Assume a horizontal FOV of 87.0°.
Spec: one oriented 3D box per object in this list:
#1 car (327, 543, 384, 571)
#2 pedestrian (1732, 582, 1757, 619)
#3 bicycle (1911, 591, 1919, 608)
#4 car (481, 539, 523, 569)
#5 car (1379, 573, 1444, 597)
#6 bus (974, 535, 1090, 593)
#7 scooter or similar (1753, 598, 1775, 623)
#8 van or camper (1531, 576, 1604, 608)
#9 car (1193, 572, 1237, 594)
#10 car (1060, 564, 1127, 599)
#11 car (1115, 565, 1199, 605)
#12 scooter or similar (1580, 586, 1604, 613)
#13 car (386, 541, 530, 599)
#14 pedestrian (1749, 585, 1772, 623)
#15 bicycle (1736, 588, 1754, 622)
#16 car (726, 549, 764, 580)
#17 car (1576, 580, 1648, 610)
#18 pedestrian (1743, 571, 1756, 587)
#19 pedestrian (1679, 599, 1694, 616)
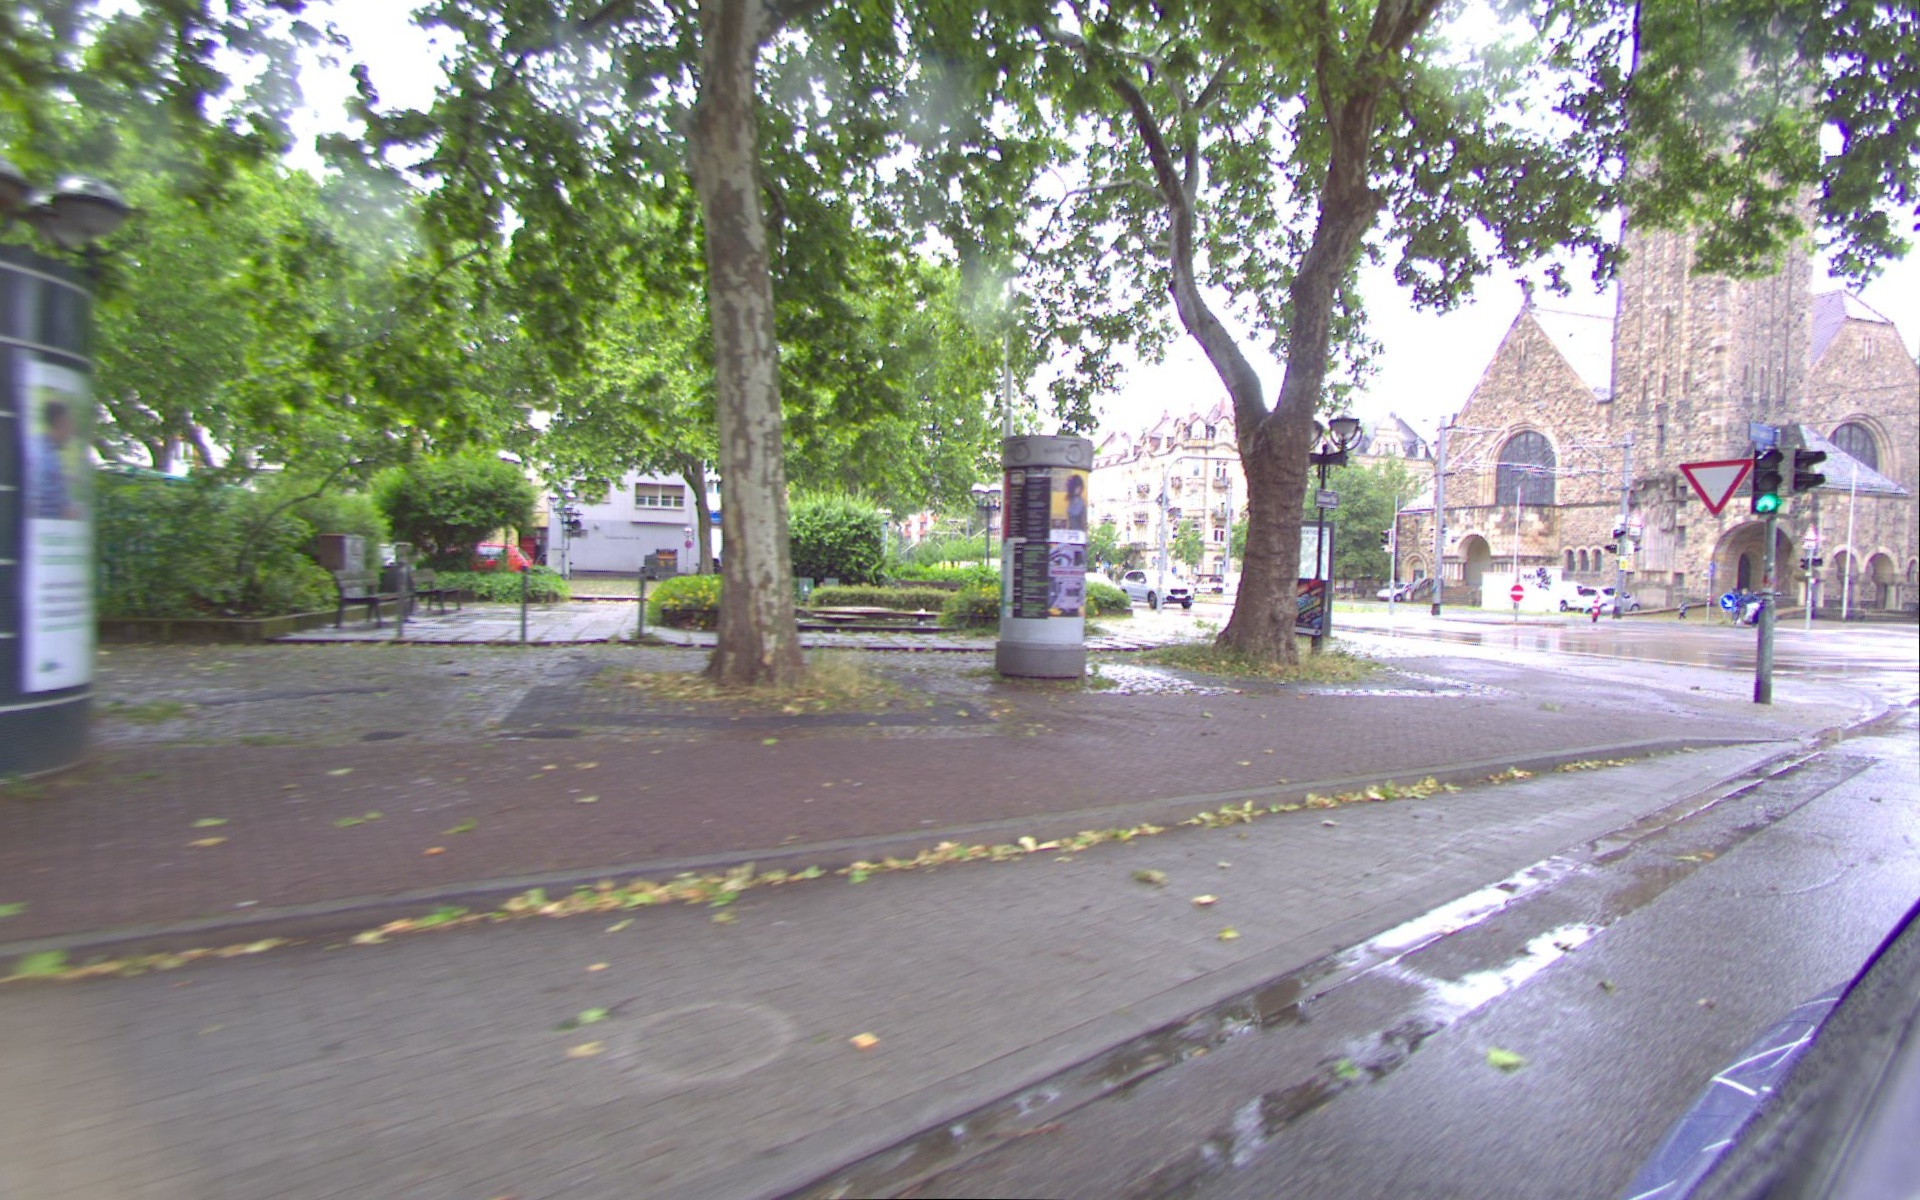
[{"bbox_3d":[-33.368,-2.370,55.944,1.642,1.470,4.010,1,2,-14],"label":"car"},{"bbox_3d":[38.028,0.017,49.055,0.664,1.724,0.635,1,1,-20],"label":"pedestrian"},{"bbox_3d":[59.954,0.012,62.309,0.569,1.073,1.933,1,2,-21],"label":"bicycle"},{"bbox_3d":[-26.282,-2.649,58.151,1.790,1.571,3.905,1,2,-18],"label":"car"},{"bbox_3d":[33.406,-1.081,74.895,3.915,1.638,2.005,1,2,-16],"label":"car"},{"bbox_3d":[4.113,-2.229,62.451,2.832,3.152,12.132,2,2,-17],"label":"bus"},{"bbox_3d":[35.895,0.462,45.178,0.907,1.061,0.515,1,2,-38],"label":"scooter or similar"},{"bbox_3d":[37.342,-0.522,62.235,3.848,1.748,1.653,-2,3,-16],"label":"van or camper"},{"bbox_3d":[22.952,-1.512,91.150,1.938,1.816,4.010,1,2,-19],"label":"car"},{"bbox_3d":[6.779,-0.964,51.760,1.741,1.619,4.189,2,2,-17],"label":"car"},{"bbox_3d":[8.789,-0.717,45.597,1.754,1.619,4.566,2,2,-17],"label":"car"},{"bbox_3d":[33.892,-0.027,54.299,0.280,1.404,1.106,2,1,-17],"label":"scooter or similar"},{"bbox_3d":[-14.331,-0.866,29.048,3.602,1.540,1.672,1,2,-25],"label":"car"},{"bbox_3d":[36.228,0.173,45.779,0.676,1.684,0.605,1,1,-37],"label":"pedestrian"},{"bbox_3d":[35.920,0.220,46.302,0.531,1.484,1.912,3,2,40],"label":"bicycle"},{"bbox_3d":[-13.360,-2.232,62.792,1.702,1.800,4.272,1,2,-20],"label":"car"},{"bbox_3d":[38.026,-0.303,59.030,3.288,1.593,1.740,-2,2,-13],"label":"car"},{"bbox_3d":[45.382,-1.227,58.186,0.447,0.895,0.397,1,1,-17],"label":"pedestrian"},{"bbox_3d":[37.622,0.386,52.414,0.388,0.895,0.457,1,1,-20],"label":"pedestrian"}]
